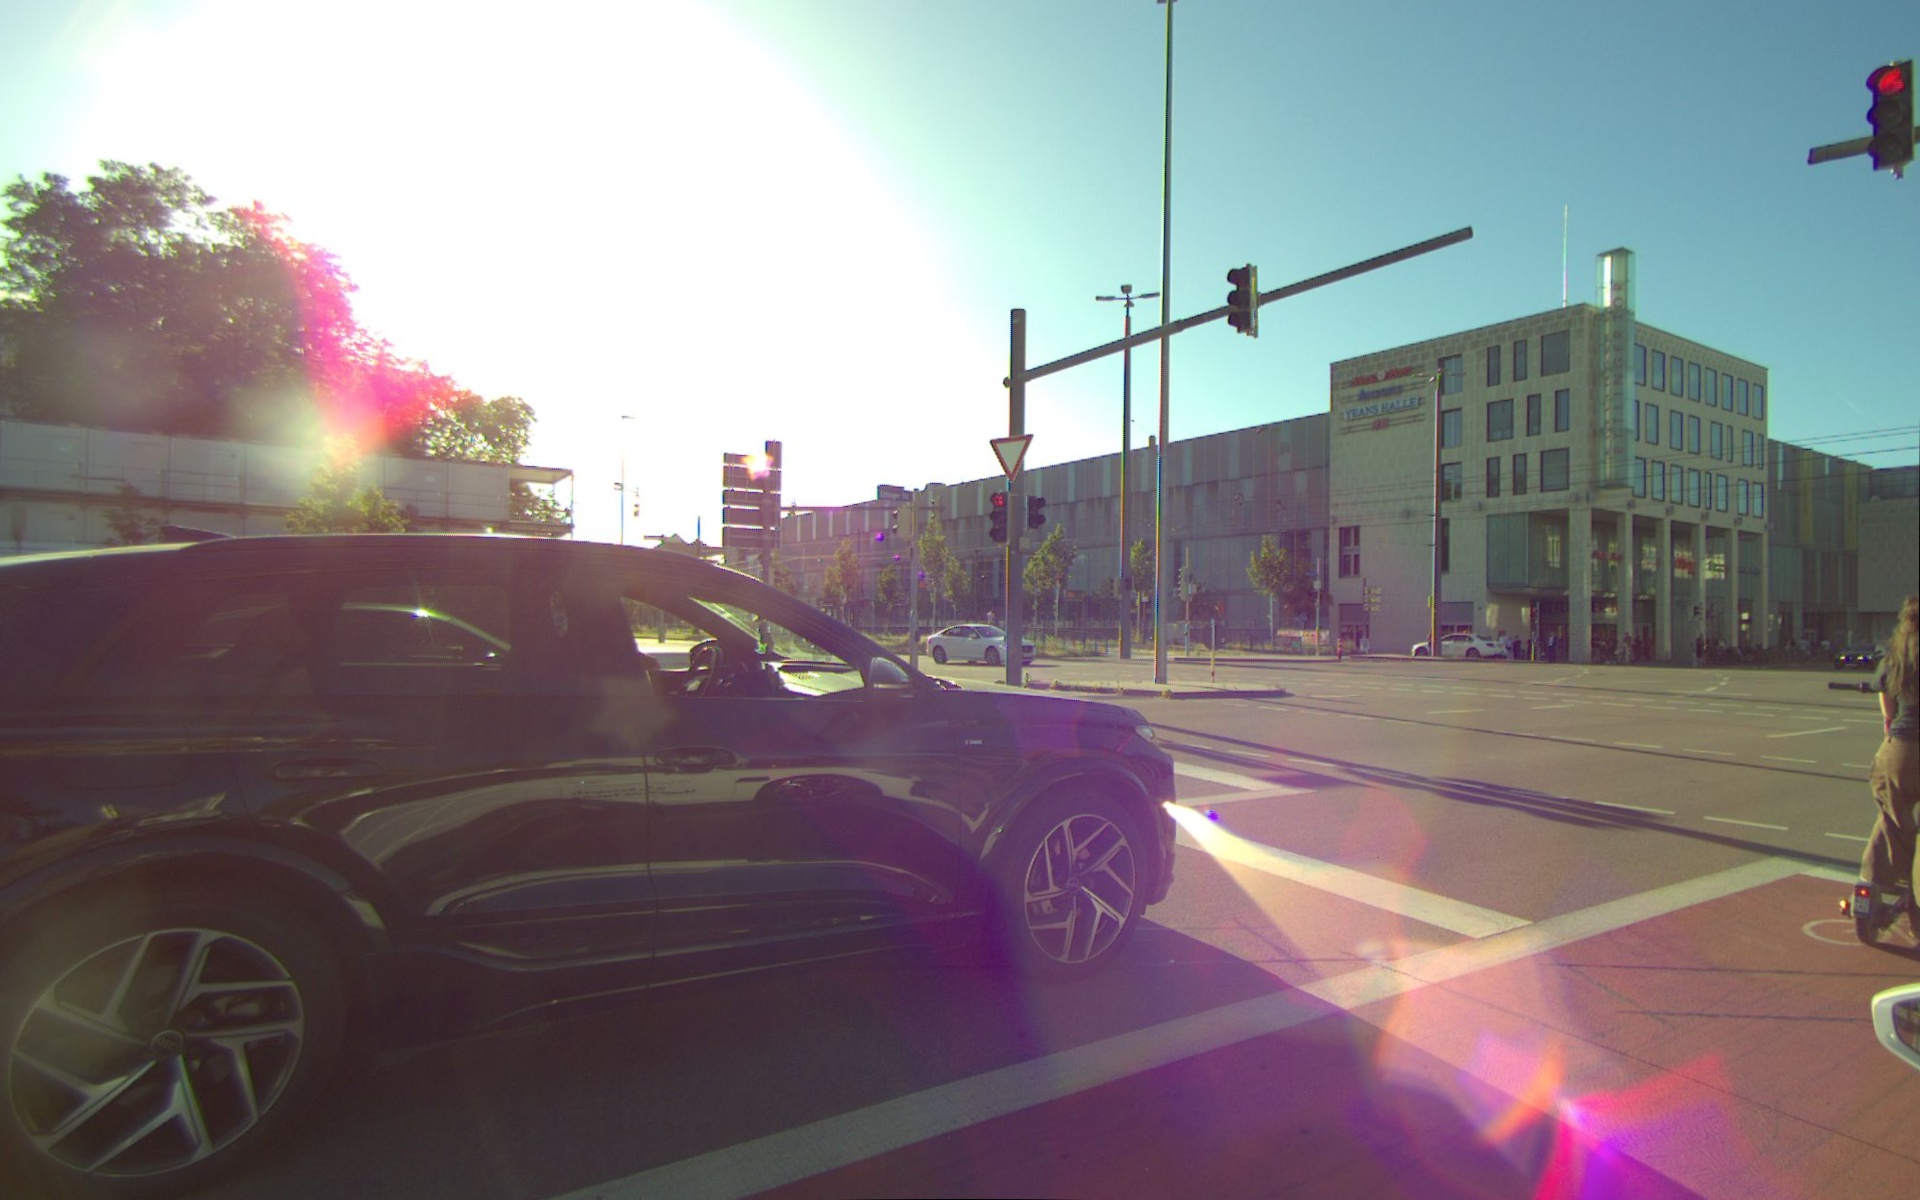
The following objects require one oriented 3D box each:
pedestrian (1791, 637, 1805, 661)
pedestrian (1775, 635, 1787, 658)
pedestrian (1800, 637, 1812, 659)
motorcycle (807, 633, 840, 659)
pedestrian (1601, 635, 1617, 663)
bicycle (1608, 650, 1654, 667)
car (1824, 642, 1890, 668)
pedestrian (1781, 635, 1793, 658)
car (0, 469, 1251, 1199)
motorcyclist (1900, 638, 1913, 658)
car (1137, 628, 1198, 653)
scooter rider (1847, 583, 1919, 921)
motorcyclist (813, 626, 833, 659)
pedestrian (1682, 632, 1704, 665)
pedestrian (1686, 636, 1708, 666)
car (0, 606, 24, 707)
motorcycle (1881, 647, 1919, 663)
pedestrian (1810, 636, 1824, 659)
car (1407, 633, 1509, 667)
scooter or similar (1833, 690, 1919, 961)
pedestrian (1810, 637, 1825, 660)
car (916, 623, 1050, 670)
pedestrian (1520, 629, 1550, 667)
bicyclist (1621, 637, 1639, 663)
[{"bbox_3d":[63.900,3.728,76.605,0.615,1.752,0.472,2,0,4],"label":"pedestrian"},{"bbox_3d":[64.246,3.654,78.611,0.510,1.752,0.472,2,0,9],"label":"pedestrian"},{"bbox_3d":[66.175,3.764,78.610,0.510,1.705,0.472,2,0,9],"label":"pedestrian"},{"bbox_3d":[-6.210,2.079,45.582,0.643,1.115,1.940,1,-1,-37],"label":"motorcycle"},{"bbox_3d":[38.855,2.908,60.102,0.622,1.667,0.589,1,-1,-30],"label":"pedestrian"},{"bbox_3d":[37.405,3.264,56.011,2.175,0.915,0.637,1,-1,-1],"label":"bicycle"},{"bbox_3d":[49.662,3.010,55.586,3.975,1.375,1.668,1,-1,-31],"label":"car"},{"bbox_3d":[65.491,3.696,79.542,0.510,1.752,0.472,2,0,9],"label":"pedestrian"},{"bbox_3d":[-1.247,0.605,4.078,4.613,1.729,2.153,1,0,-32],"label":"car"},{"bbox_3d":[70.765,3.580,75.109,0.657,1.424,0.623,2,0,-38],"label":"motorcyclist"},{"bbox_3d":[14.898,2.922,72.470,1.805,1.706,4.379,1,-2,-32],"label":"car"},{"bbox_3d":[4.597,0.699,4.733,0.445,1.550,0.548,1,-1,-38],"label":"scooter rider"},{"bbox_3d":[-6.238,1.921,45.648,0.594,1.499,0.744,1,-1,-37],"label":"motorcyclist"},{"bbox_3d":[43.467,2.862,59.557,0.529,1.889,0.943,1,-1,-13],"label":"pedestrian"},{"bbox_3d":[42.744,2.953,58.257,0.615,1.660,0.777,1,-1,-16],"label":"pedestrian"},{"bbox_3d":[-14.883,0.736,12.869,3.897,1.395,1.715,1,-1,-30],"label":"car"},{"bbox_3d":[70.724,4.117,75.082,1.106,1.006,2.582,2,0,-38],"label":"motorcycle"},{"bbox_3d":[66.580,3.722,78.051,0.616,1.752,0.471,2,0,-1],"label":"pedestrian"},{"bbox_3d":[27.317,2.721,55.231,1.807,1.706,4.813,1,-2,-35],"label":"car"},{"bbox_3d":[4.375,1.010,4.721,0.832,1.122,0.303,2,-1,-42],"label":"scooter or similar"},{"bbox_3d":[65.011,3.664,76.113,0.681,1.752,0.472,2,0,9],"label":"pedestrian"},{"bbox_3d":[0.773,1.641,36.768,1.986,1.585,5.035,2,-2,-43],"label":"car"},{"bbox_3d":[26.170,2.197,45.695,0.994,1.697,0.818,1,-1,-33],"label":"pedestrian"},{"bbox_3d":[37.355,2.776,56.027,0.577,1.467,0.628,1,-1,-2],"label":"bicyclist"}]
